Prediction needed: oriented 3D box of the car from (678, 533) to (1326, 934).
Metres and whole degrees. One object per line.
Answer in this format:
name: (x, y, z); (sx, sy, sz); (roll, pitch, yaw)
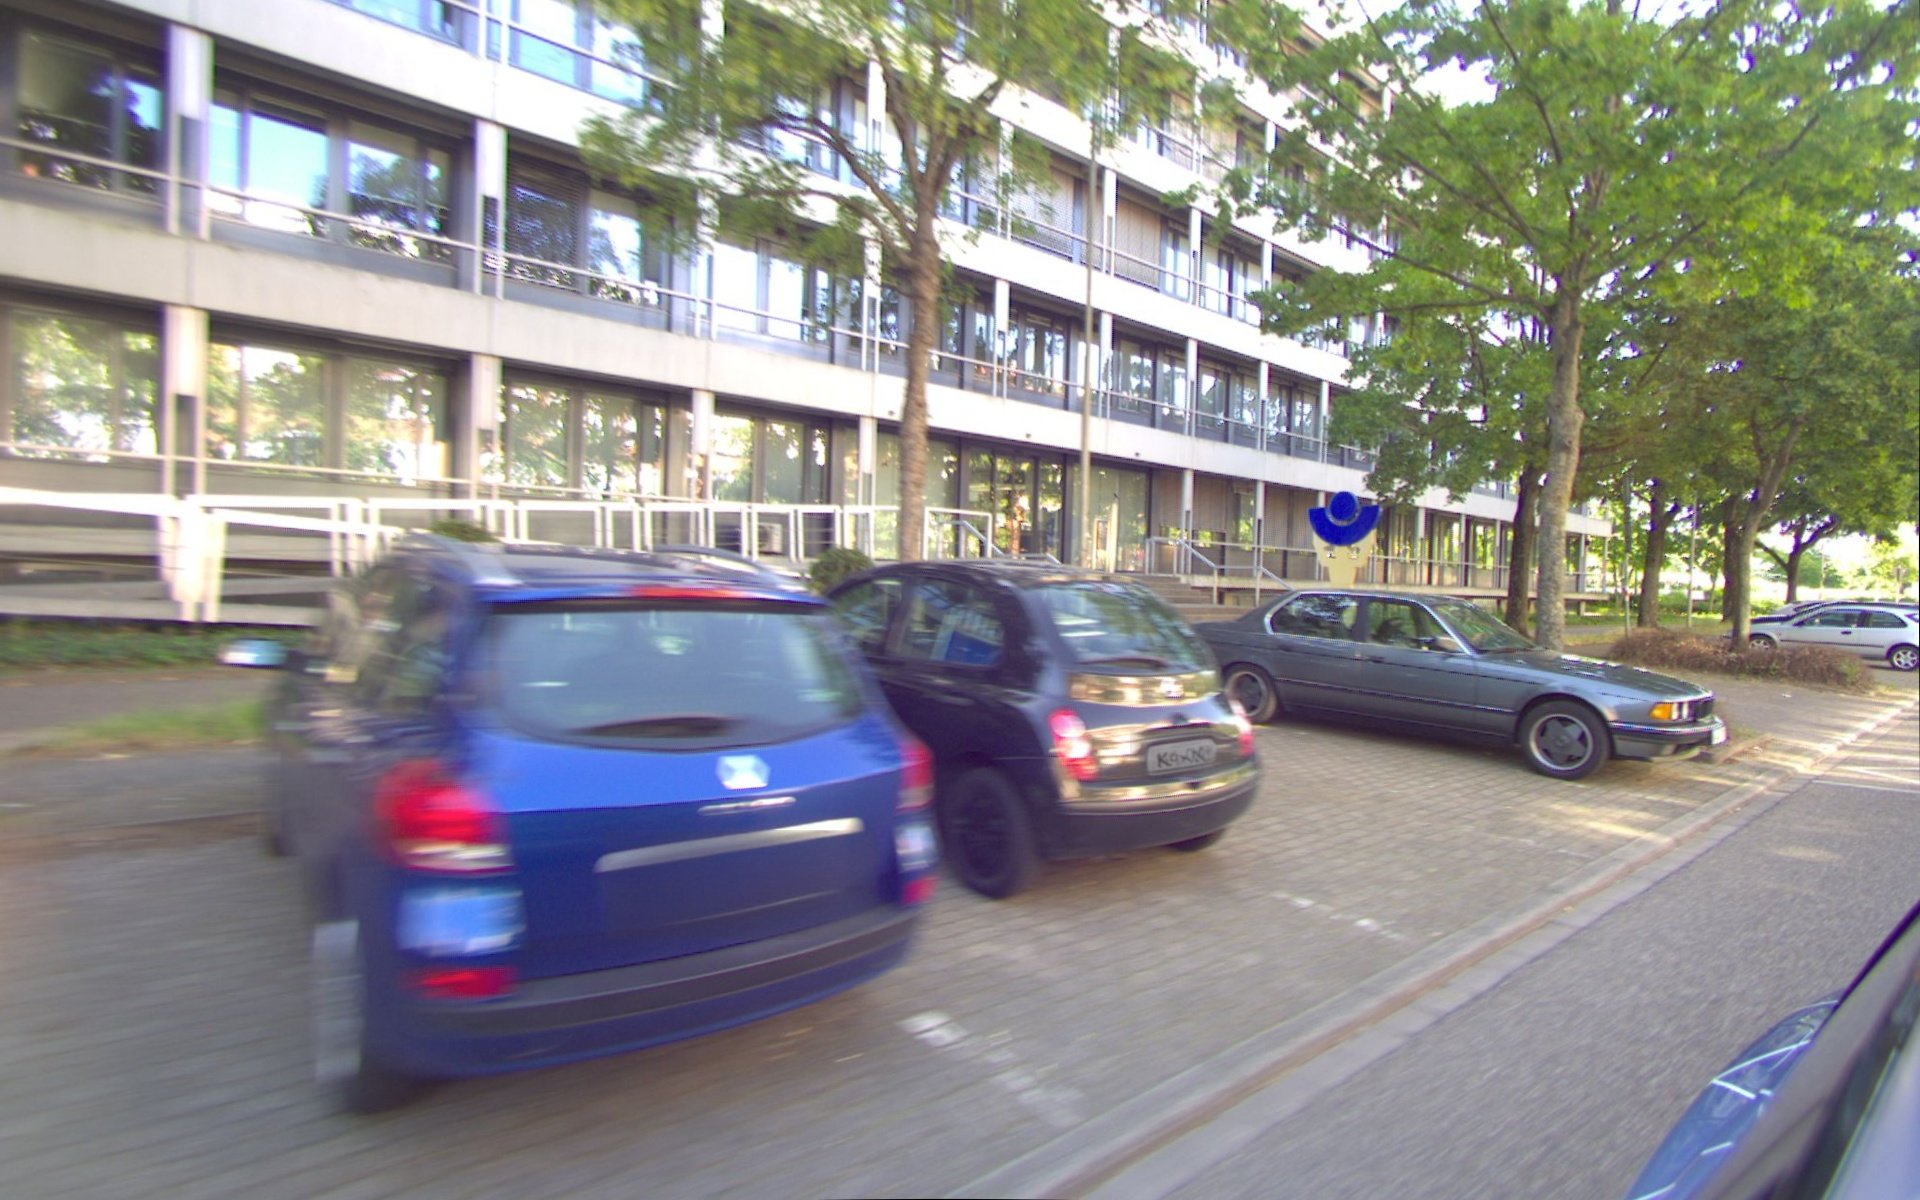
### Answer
car: (-0.015, 0.444, 5.993); (1.781, 1.533, 3.650); (0, 4, -41)

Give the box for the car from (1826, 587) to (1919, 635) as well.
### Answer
car: (34.854, 0.441, 36.970); (1.886, 1.561, 4.530); (1, 4, -37)

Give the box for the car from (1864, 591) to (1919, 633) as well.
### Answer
car: (37.104, 0.534, 38.406); (1.886, 1.464, 3.851); (1, 4, -37)

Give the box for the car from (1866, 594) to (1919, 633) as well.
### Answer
car: (39.134, 0.599, 40.096); (1.716, 1.493, 4.588); (0, 3, -41)

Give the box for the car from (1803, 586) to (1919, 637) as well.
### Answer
car: (32.716, 0.430, 35.556); (1.891, 1.561, 4.520); (0, 4, -45)

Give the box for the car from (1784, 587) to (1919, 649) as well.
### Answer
car: (26.602, 0.525, 29.070); (1.970, 1.511, 4.292); (0, 4, -43)

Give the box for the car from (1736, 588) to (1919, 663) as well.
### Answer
car: (20.762, 0.575, 23.554); (1.680, 1.437, 3.979); (0, 4, -41)

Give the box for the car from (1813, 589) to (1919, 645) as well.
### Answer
car: (28.360, 0.529, 30.608); (3.746, 1.511, 1.591); (6, 4, 45)

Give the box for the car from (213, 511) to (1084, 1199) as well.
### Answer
car: (-1.612, 0.485, 3.854); (1.780, 1.533, 3.960); (0, 4, -39)

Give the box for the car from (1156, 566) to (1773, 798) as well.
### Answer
car: (4.472, 0.523, 9.659); (1.997, 1.437, 4.834); (0, 4, -42)

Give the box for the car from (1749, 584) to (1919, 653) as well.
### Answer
car: (24.300, 0.491, 27.212); (1.733, 1.511, 4.599); (0, 5, -43)
